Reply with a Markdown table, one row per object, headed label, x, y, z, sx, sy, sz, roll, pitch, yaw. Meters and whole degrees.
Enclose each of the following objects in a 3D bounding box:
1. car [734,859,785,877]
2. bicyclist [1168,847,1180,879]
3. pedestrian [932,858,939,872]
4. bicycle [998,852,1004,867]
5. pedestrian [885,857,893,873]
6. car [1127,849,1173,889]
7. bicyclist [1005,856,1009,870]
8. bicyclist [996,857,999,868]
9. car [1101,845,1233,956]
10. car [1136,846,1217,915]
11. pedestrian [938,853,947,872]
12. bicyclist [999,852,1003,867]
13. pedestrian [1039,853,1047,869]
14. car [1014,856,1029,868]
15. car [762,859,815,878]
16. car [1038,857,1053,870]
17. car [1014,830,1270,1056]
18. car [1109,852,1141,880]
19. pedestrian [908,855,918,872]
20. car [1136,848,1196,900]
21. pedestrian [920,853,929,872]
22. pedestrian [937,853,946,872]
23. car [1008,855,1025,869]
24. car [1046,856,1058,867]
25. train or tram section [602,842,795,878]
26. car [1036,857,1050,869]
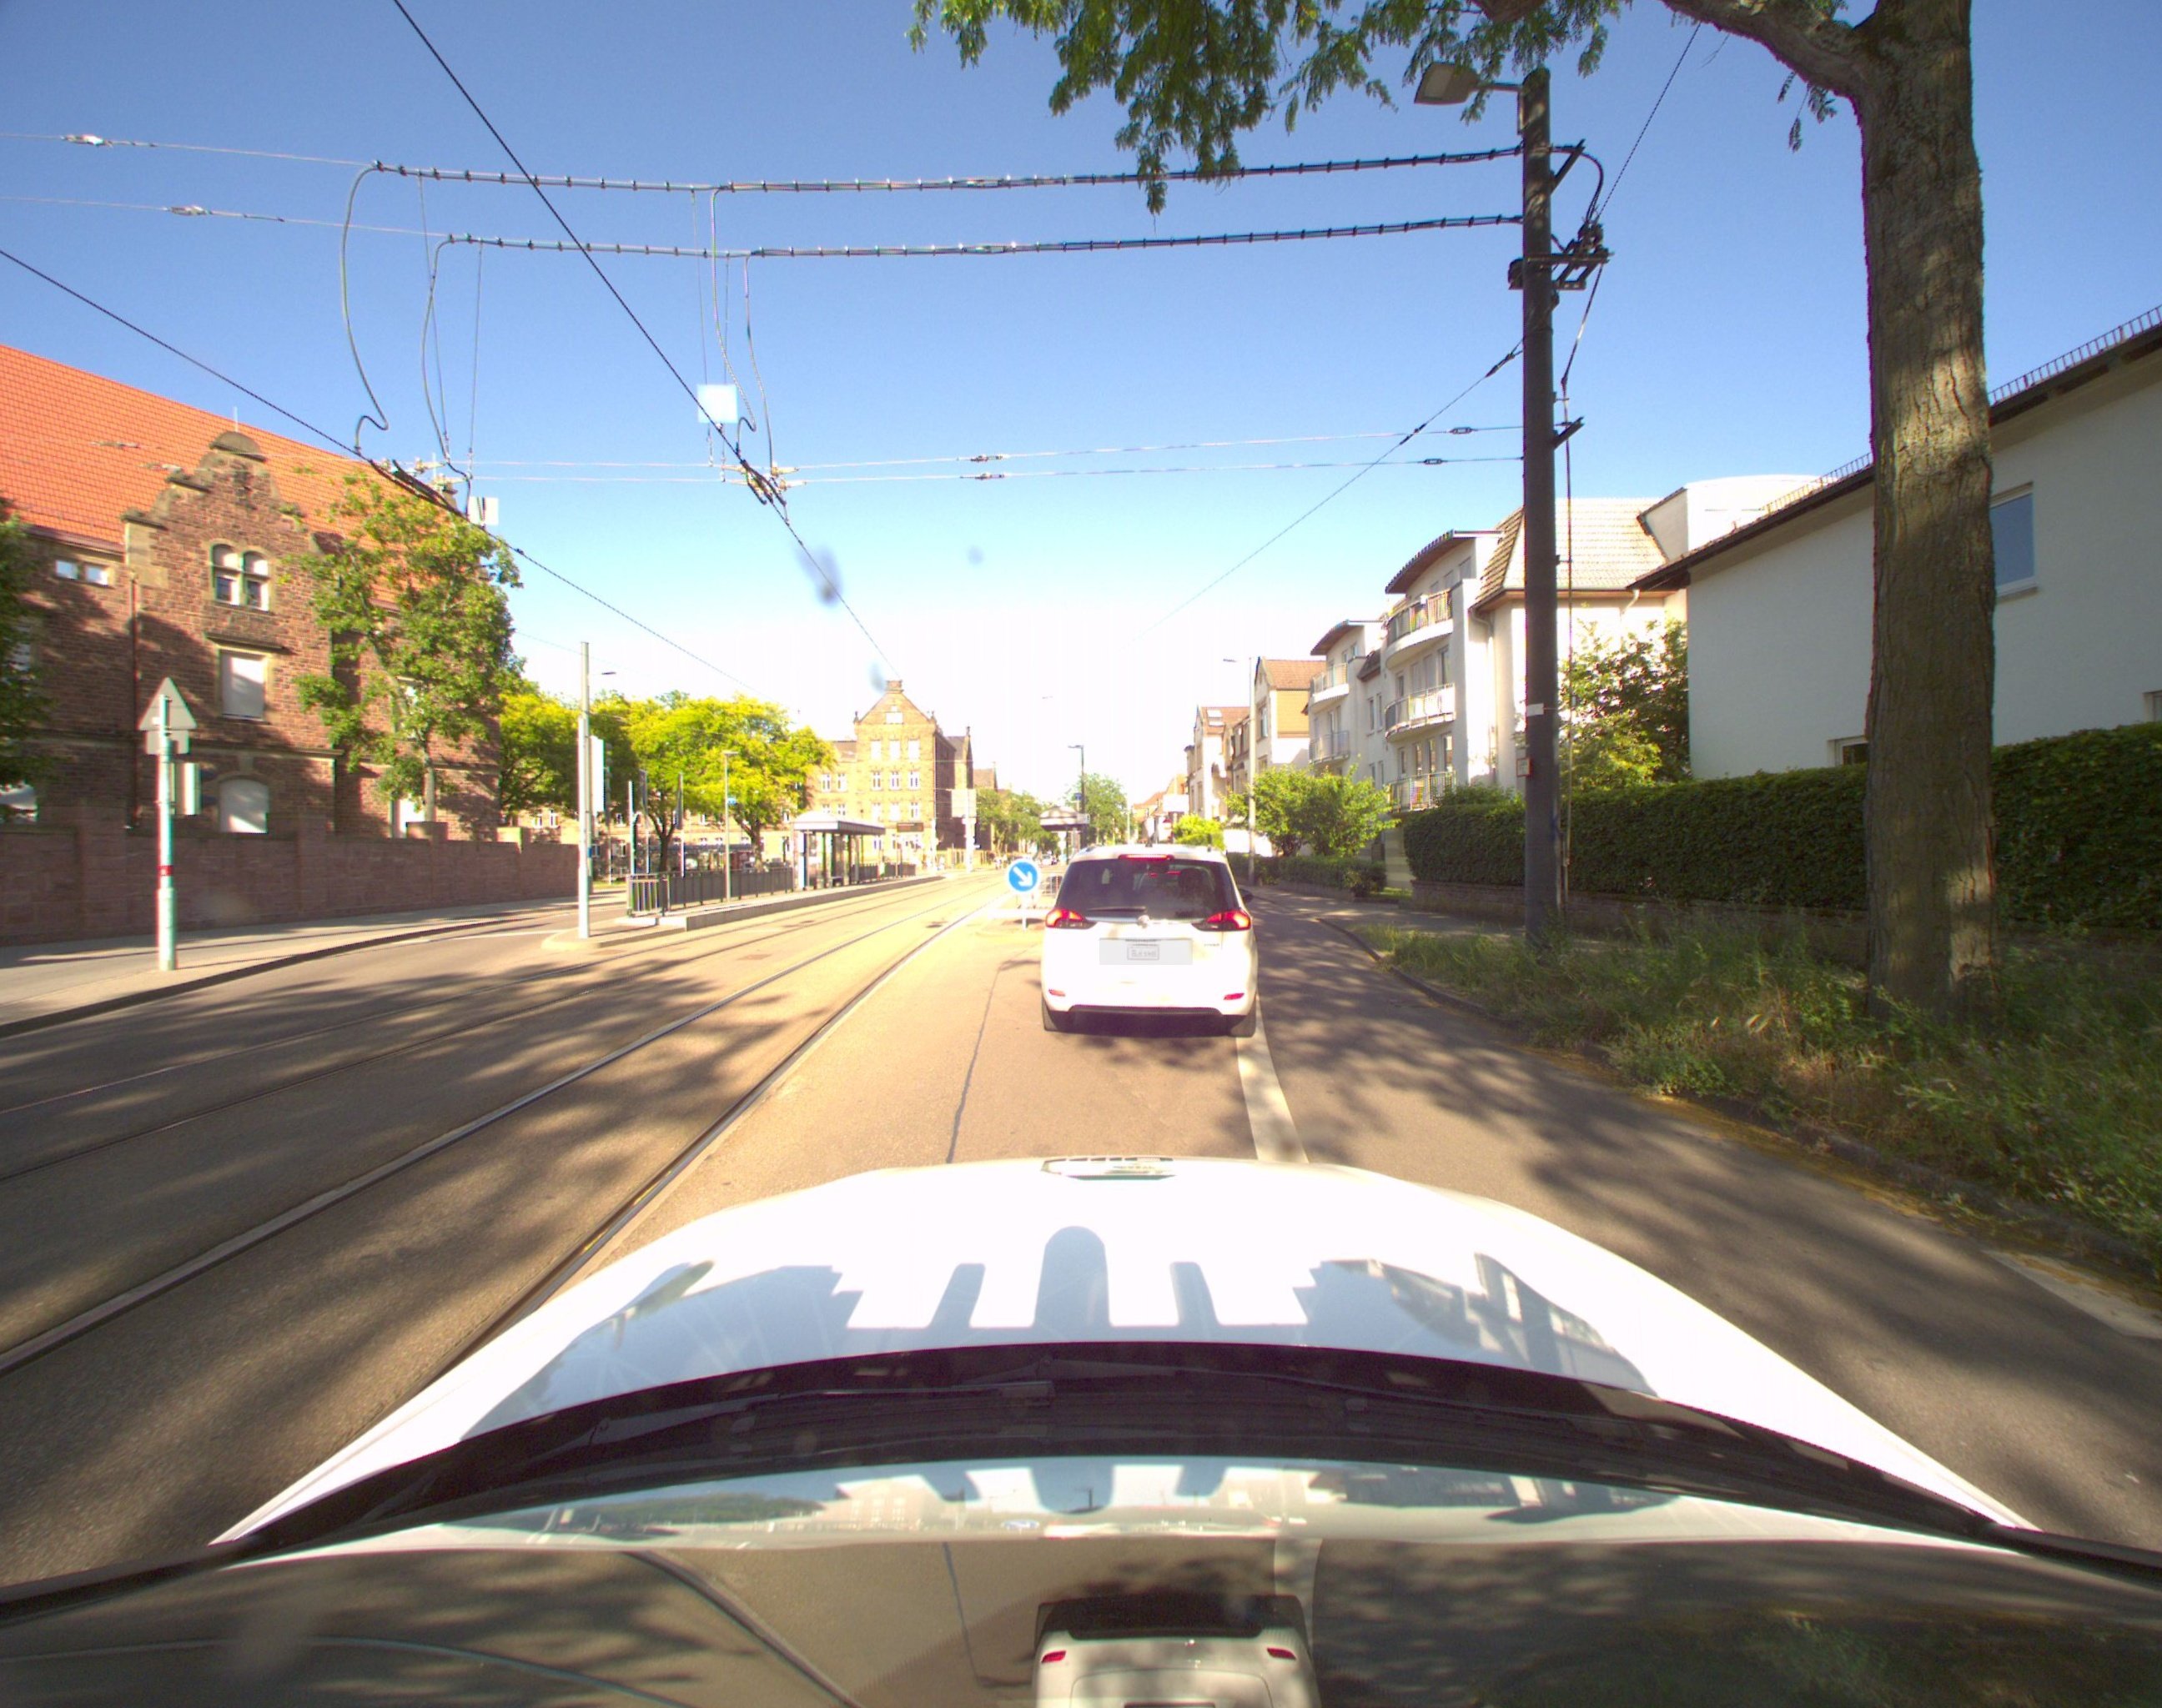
| label | x | y | z | sx | sy | sz | roll | pitch | yaw |
| --- | --- | --- | --- | --- | --- | --- | --- | --- | --- |
| car | -29.649 | 1.317 | 75.197 | 3.976 | 1.630 | 1.817 | 0 | -1 | -2 |
| bicyclist | 4.999 | 0.481 | 43.752 | 0.613 | 1.686 | 0.780 | -1 | 0 | 6 |
| pedestrian | -17.141 | 1.260 | 95.888 | 0.651 | 1.612 | 0.712 | 0 | -1 | 4 |
| bicycle | -10.760 | 0.755 | 109.463 | 0.485 | 2.013 | 1.406 | -1 | 0 | 2 |
| pedestrian | -20.895 | 1.192 | 88.675 | 0.768 | 1.774 | 0.717 | 0 | -1 | -15 |
| car | 2.998 | 0.619 | 36.170 | 1.899 | 1.661 | 4.003 | -1 | 0 | 3 |
| bicyclist | -10.219 | 1.227 | 112.359 | 0.486 | 2.014 | 0.502 | 0 | -1 | 1 |
| bicyclist | -10.660 | 1.062 | 103.479 | 0.312 | 1.444 | 0.384 | -1 | 0 | 1 |
| car | 1.559 | 0.688 | 13.849 | 1.896 | 1.597 | 4.010 | -1 | 0 | 9 |
| car | 2.621 | 0.639 | 21.670 | 1.896 | 1.624 | 4.010 | -1 | 0 | 9 |
| pedestrian | -14.547 | 0.871 | 85.497 | 0.796 | 2.014 | 0.717 | 0 | -1 | -15 |
| bicyclist | -10.754 | 0.755 | 109.434 | 0.496 | 2.013 | 0.572 | -1 | 0 | 1 |
| pedestrian | -4.598 | 0.884 | 98.391 | 0.744 | 1.901 | 0.804 | 0 | -1 | -22 |
| car | -8.325 | 1.121 | 114.101 | 1.740 | 1.716 | 4.001 | 0 | -1 | 2 |
| car | -25.442 | 1.241 | 70.954 | 3.976 | 1.630 | 1.817 | 0 | -1 | -2 |
| car | -4.702 | 1.262 | 107.654 | 1.740 | 1.716 | 4.001 | 0 | -1 | 2 |
| car | 0.758 | 0.664 | 8.109 | 1.896 | 1.661 | 4.010 | -1 | 0 | 9 |
| car | 2.845 | 0.754 | 53.163 | 1.901 | 1.661 | 4.000 | -1 | 0 | 0 |
| pedestrian | -18.464 | 1.039 | 89.604 | 0.802 | 1.901 | 0.747 | -1 | -1 | 16 |
| car | 2.977 | 0.654 | 28.327 | 1.897 | 1.661 | 4.007 | -1 | 0 | 6 |
| pedestrian | -17.058 | 0.944 | 88.931 | 0.800 | 2.014 | 0.713 | 0 | -1 | -32 |
| pedestrian | -15.359 | 0.939 | 89.780 | 0.800 | 2.014 | 0.714 | 0 | -1 | -30 |
| car | -8.494 | 1.035 | 107.434 | 1.740 | 1.716 | 4.001 | 0 | -1 | 2 |
| car | -4.597 | 1.188 | 129.379 | 1.740 | 1.716 | 4.001 | 0 | -1 | 2 |
| train or tram section | -37.840 | 0.578 | 81.130 | 17.346 | 3.154 | 3.344 | -1 | -1 | -3 |
| car | -5.365 | 1.293 | 115.532 | 1.740 | 1.716 | 4.001 | 0 | -1 | 2 |
